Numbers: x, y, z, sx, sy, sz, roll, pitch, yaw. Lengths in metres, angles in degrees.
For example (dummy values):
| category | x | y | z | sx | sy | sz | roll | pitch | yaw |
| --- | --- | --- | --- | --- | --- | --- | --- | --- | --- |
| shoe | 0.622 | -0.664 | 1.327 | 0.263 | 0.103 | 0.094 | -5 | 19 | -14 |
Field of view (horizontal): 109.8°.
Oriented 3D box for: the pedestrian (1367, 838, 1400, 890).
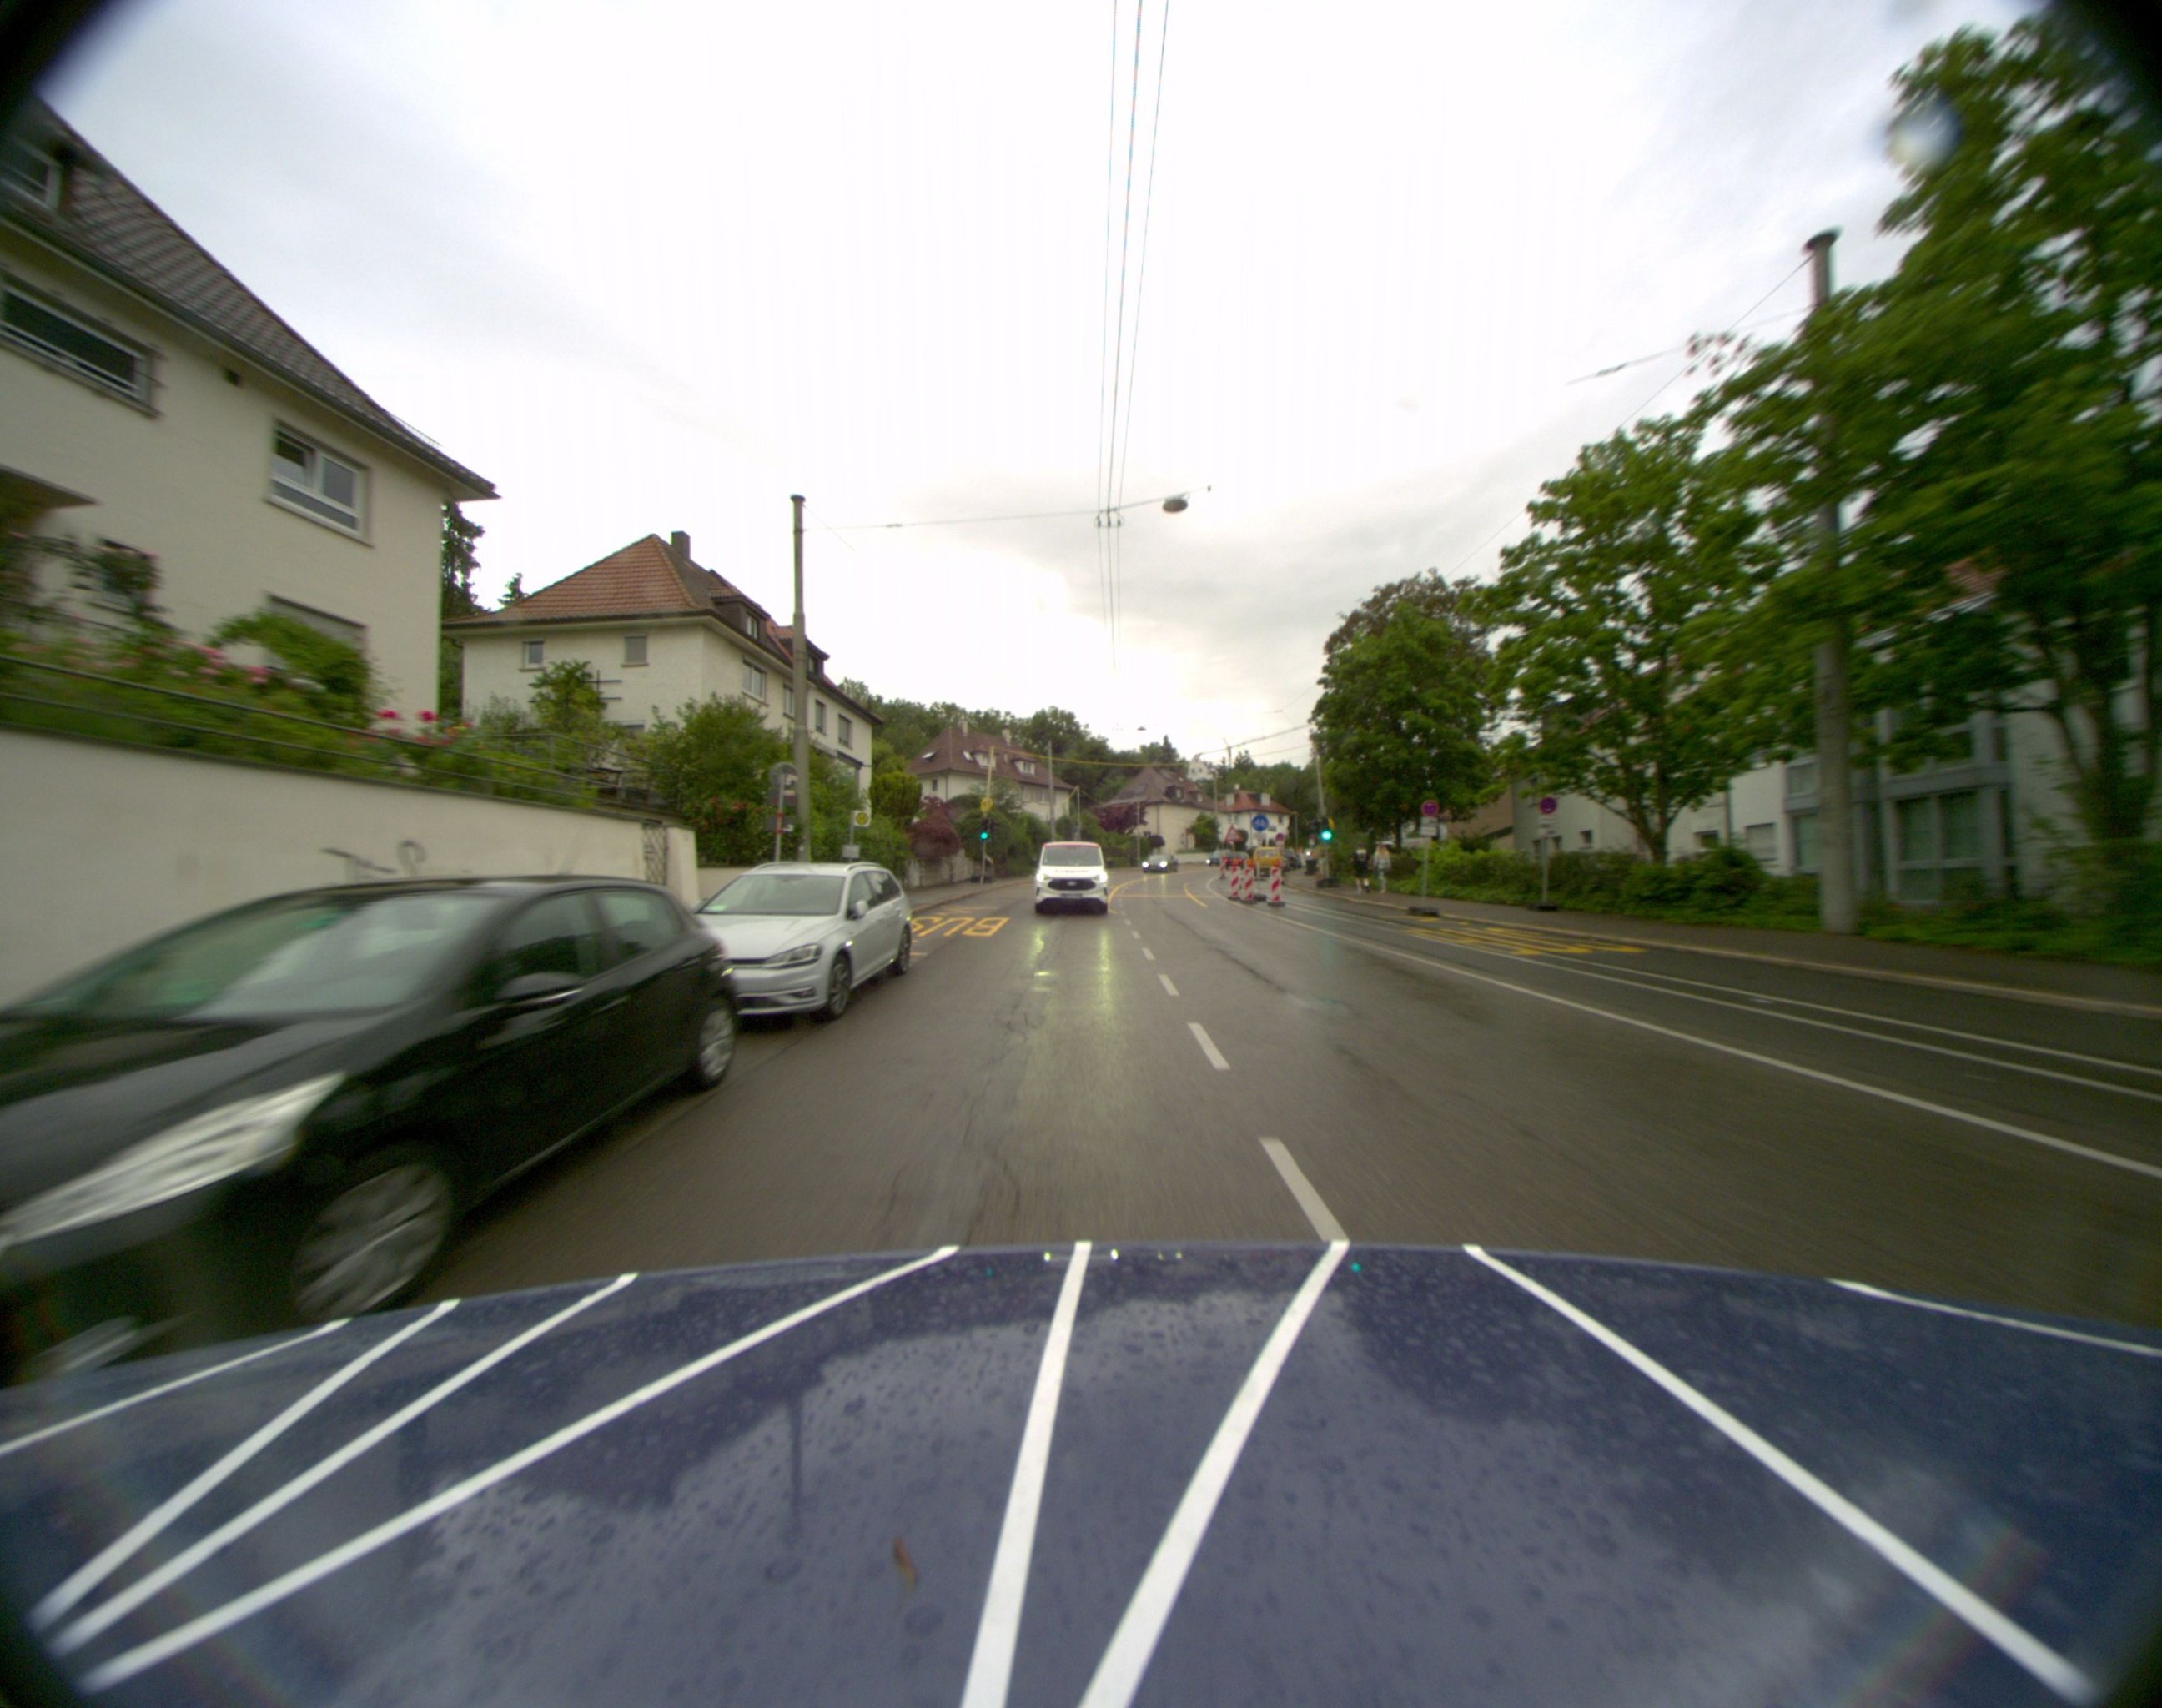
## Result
| category | x | y | z | sx | sy | sz | roll | pitch | yaw |
| --- | --- | --- | --- | --- | --- | --- | --- | --- | --- |
| pedestrian | 10.898 | 0.355 | 27.398 | 0.682 | 1.806 | 1.155 | -2 | 0 | 0 |

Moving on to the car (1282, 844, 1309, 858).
| category | x | y | z | sx | sy | sz | roll | pitch | yaw |
| --- | --- | --- | --- | --- | --- | --- | --- | --- | --- |
| car | 22.502 | -0.313 | 79.664 | 1.699 | 1.452 | 3.943 | 1 | 1 | 31 |

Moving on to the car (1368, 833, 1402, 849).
| category | x | y | z | sx | sy | sz | roll | pitch | yaw |
| --- | --- | --- | --- | --- | --- | --- | --- | --- | --- |
| car | 35.386 | -1.547 | 88.531 | 4.471 | 1.790 | 1.806 | -2 | 1 | -41 |

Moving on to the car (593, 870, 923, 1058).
| category | x | y | z | sx | sy | sz | roll | pitch | yaw |
| --- | --- | --- | --- | --- | --- | --- | --- | --- | --- |
| car | -3.122 | 0.959 | 8.490 | 1.786 | 1.412 | 4.429 | 0 | 1 | 0 |

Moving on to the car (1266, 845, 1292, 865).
| category | x | y | z | sx | sy | sz | roll | pitch | yaw |
| --- | --- | --- | --- | --- | --- | --- | --- | --- | --- |
| car | 15.188 | 0.059 | 58.169 | 1.576 | 1.446 | 3.469 | 0 | 2 | 21 |

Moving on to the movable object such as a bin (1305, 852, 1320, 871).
| category | x | y | z | sx | sy | sz | roll | pitch | yaw |
| --- | --- | --- | --- | --- | --- | --- | --- | --- | --- |
| movable object such as a bin | 14.485 | 0.464 | 47.519 | 0.859 | 1.134 | 0.713 | -1 | 2 | 17 |

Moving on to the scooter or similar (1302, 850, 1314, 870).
| category | x | y | z | sx | sy | sz | roll | pitch | yaw |
| --- | --- | --- | --- | --- | --- | --- | --- | --- | --- |
| scooter or similar | 14.510 | 0.377 | 48.505 | 0.399 | 1.253 | 1.319 | -4 | 1 | 29 |

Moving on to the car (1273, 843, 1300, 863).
| category | x | y | z | sx | sy | sz | roll | pitch | yaw |
| --- | --- | --- | --- | --- | --- | --- | --- | --- | --- |
| car | 17.115 | -0.110 | 63.227 | 1.721 | 1.598 | 4.469 | -1 | 1 | 21 |

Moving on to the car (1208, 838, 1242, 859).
| category | x | y | z | sx | sy | sz | roll | pitch | yaw |
| --- | --- | --- | --- | --- | --- | --- | --- | --- | --- |
| car | 14.505 | -0.541 | 76.207 | 2.011 | 1.929 | 4.006 | -1 | 2 | 31 |

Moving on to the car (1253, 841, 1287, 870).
| category | x | y | z | sx | sy | sz | roll | pitch | yaw |
| --- | --- | --- | --- | --- | --- | --- | --- | --- | --- |
| car | 13.099 | 0.065 | 52.503 | 1.805 | 1.917 | 4.583 | 1 | 2 | 19 |

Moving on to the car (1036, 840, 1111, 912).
| category | x | y | z | sx | sy | sz | roll | pitch | yaw |
| --- | --- | --- | --- | --- | --- | --- | --- | --- | --- |
| car | -0.289 | 0.600 | 23.069 | 2.042 | 1.927 | 4.514 | -1 | 0 | -2 |

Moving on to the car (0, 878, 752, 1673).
| category | x | y | z | sx | sy | sz | roll | pitch | yaw |
| --- | --- | --- | --- | --- | --- | --- | --- | --- | --- |
| car | -3.188 | 0.955 | 3.517 | 1.718 | 1.504 | 3.998 | -1 | 0 | -3 |

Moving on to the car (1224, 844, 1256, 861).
| category | x | y | z | sx | sy | sz | roll | pitch | yaw |
| --- | --- | --- | --- | --- | --- | --- | --- | --- | --- |
| car | 14.027 | -0.170 | 66.977 | 1.700 | 1.452 | 4.691 | 1 | 1 | 25 |

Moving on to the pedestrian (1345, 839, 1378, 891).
| category | x | y | z | sx | sy | sz | roll | pitch | yaw |
| --- | --- | --- | --- | --- | --- | --- | --- | --- | --- |
| pedestrian | 10.013 | 0.394 | 27.188 | 0.709 | 1.806 | 1.147 | -2 | 0 | 0 |

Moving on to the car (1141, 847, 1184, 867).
| category | x | y | z | sx | sy | sz | roll | pitch | yaw |
| --- | --- | --- | --- | --- | --- | --- | --- | --- | --- |
| car | 6.391 | 0.214 | 59.146 | 1.985 | 1.428 | 4.522 | -1 | 1 | 24 |

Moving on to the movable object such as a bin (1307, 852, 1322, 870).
| category | x | y | z | sx | sy | sz | roll | pitch | yaw |
| --- | --- | --- | --- | --- | --- | --- | --- | --- | --- |
| movable object such as a bin | 14.803 | 0.434 | 48.207 | 0.859 | 1.134 | 0.713 | -1 | 2 | 17 |
